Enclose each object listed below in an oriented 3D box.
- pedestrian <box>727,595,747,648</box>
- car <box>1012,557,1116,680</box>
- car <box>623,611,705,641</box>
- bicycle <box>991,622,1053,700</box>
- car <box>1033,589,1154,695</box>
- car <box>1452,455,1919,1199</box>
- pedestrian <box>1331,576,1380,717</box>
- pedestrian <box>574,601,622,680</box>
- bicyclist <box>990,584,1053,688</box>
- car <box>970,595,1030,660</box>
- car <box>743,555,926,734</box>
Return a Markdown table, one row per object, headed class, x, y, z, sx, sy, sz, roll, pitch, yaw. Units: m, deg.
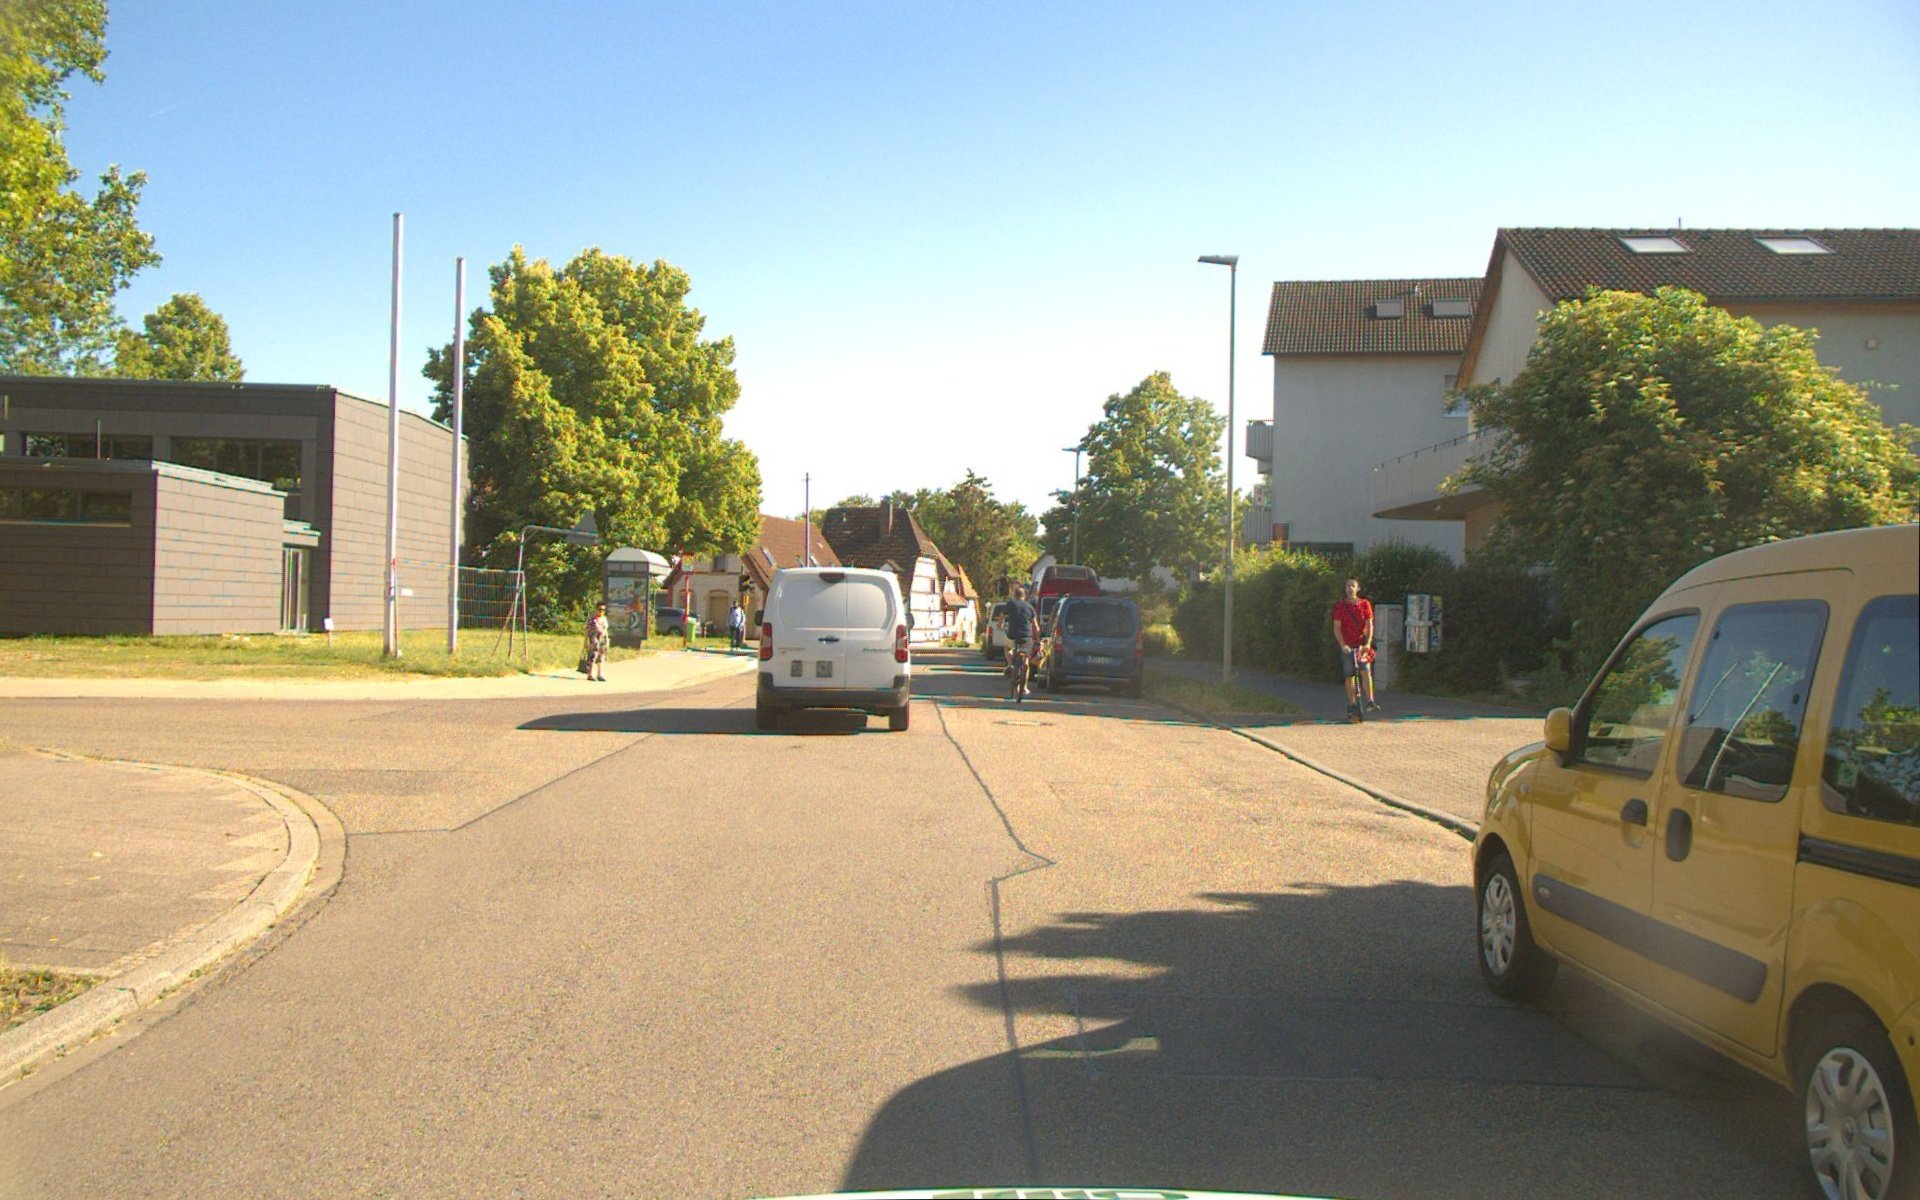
| class | x | y | z | sx | sy | sz | roll | pitch | yaw |
| --- | --- | --- | --- | --- | --- | --- | --- | --- | --- |
| pedestrian | -7.828 | 0.769 | 58.006 | 0.608 | 1.836 | 0.640 | 1 | -2 | -3 |
| car | 2.368 | 0.445 | 38.809 | 1.829 | 2.607 | 4.765 | 3 | -1 | -2 |
| car | -15.624 | 1.357 | 87.256 | 3.893 | 1.454 | 1.716 | 1 | -1 | 17 |
| bicycle | 0.975 | 0.959 | 26.611 | 0.771 | 1.158 | 2.278 | 2 | 0 | -3 |
| car | 2.501 | 0.800 | 31.875 | 1.768 | 1.816 | 3.998 | 3 | -1 | -2 |
| car | 3.031 | 0.635 | 5.282 | 1.689 | 1.869 | 4.000 | 2 | 0 | 0 |
| pedestrian | 5.337 | 0.621 | 22.331 | 0.474 | 1.863 | 0.486 | -2 | 0 | -3 |
| pedestrian | -6.964 | 0.780 | 31.805 | 0.500 | 1.471 | 0.637 | 4 | -1 | 32 |
| bicyclist | 0.979 | 0.574 | 26.588 | 0.887 | 1.612 | 0.966 | 2 | -1 | -3 |
| car | 1.378 | 0.964 | 58.199 | 1.768 | 2.105 | 3.998 | 3 | -1 | -2 |
| car | -1.532 | 0.493 | 20.253 | 1.954 | 1.914 | 4.285 | 2 | 0 | -4 |
